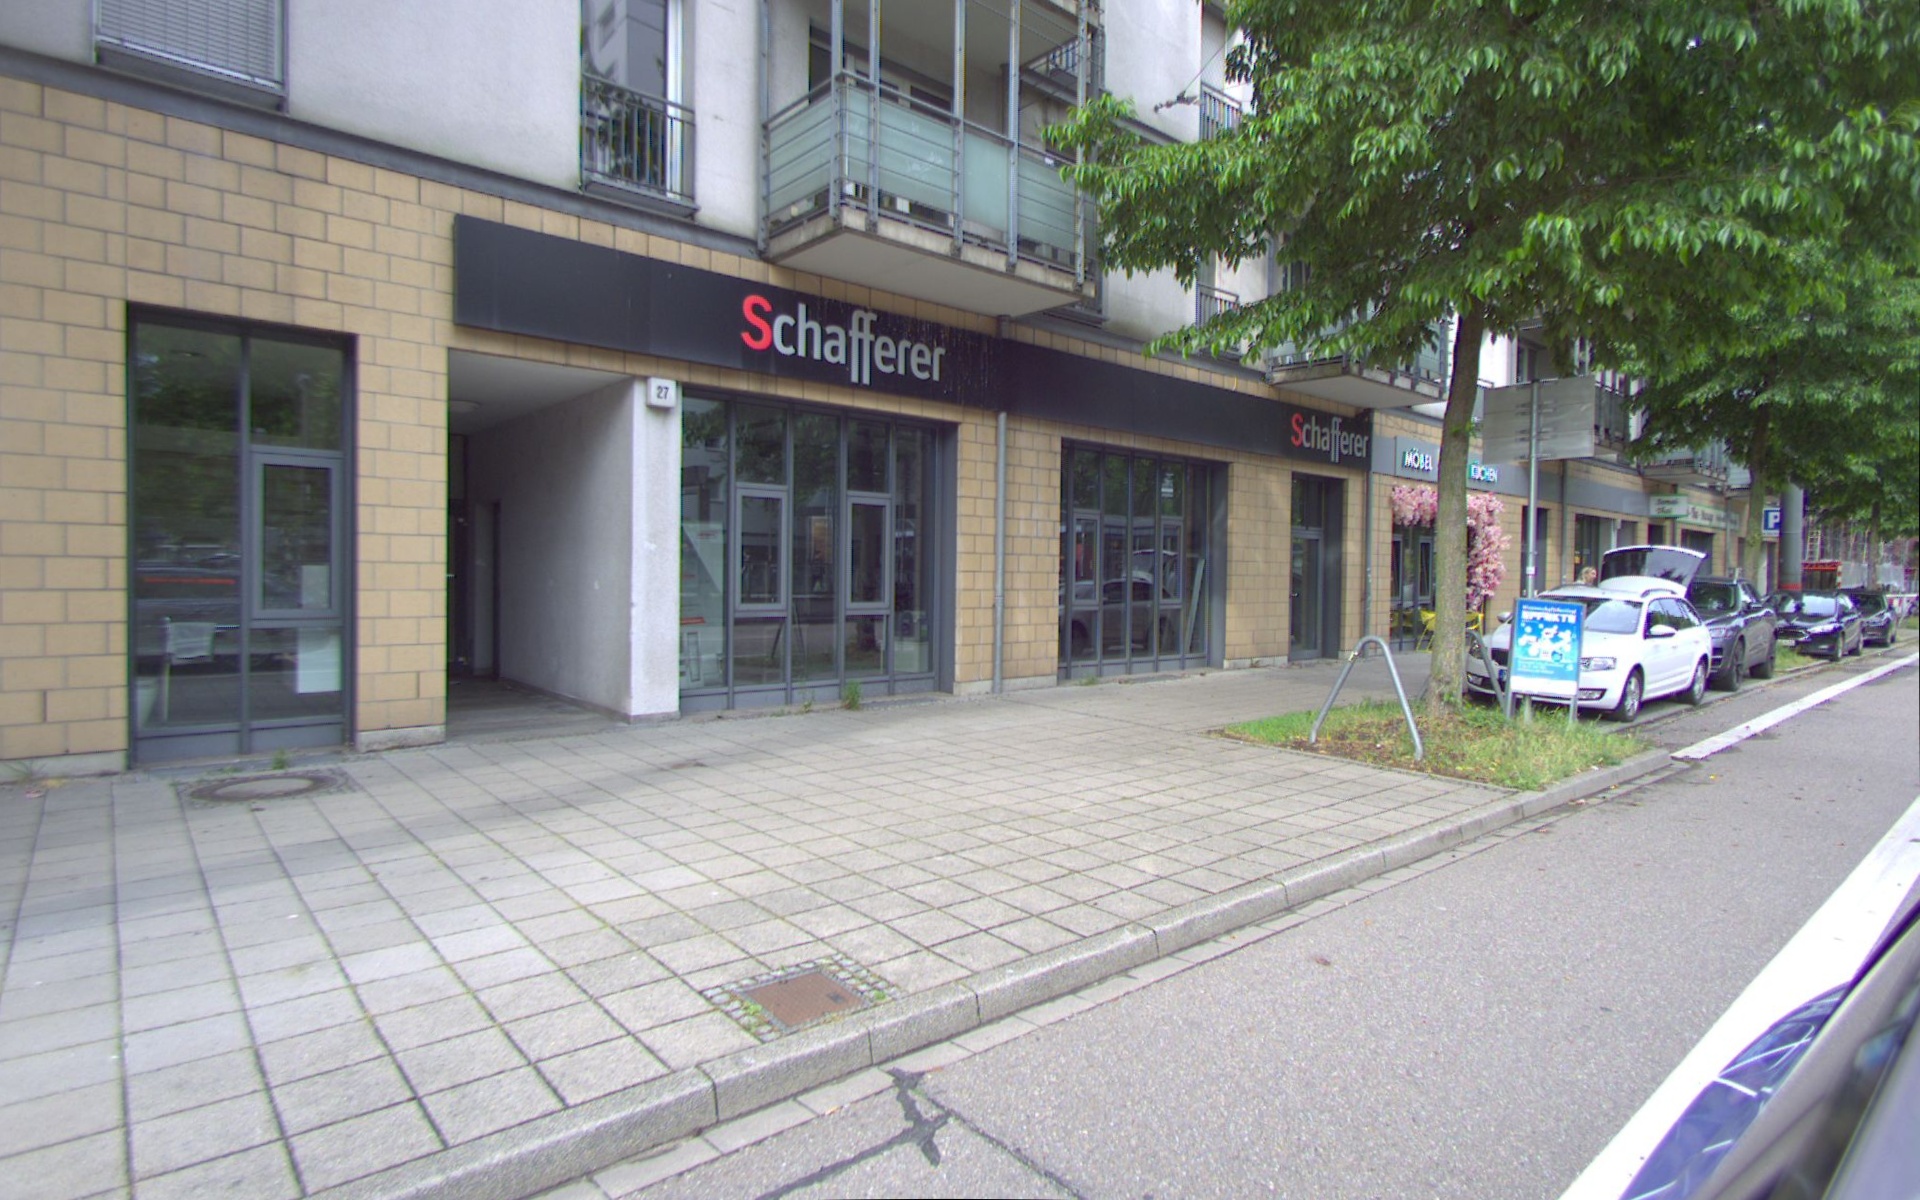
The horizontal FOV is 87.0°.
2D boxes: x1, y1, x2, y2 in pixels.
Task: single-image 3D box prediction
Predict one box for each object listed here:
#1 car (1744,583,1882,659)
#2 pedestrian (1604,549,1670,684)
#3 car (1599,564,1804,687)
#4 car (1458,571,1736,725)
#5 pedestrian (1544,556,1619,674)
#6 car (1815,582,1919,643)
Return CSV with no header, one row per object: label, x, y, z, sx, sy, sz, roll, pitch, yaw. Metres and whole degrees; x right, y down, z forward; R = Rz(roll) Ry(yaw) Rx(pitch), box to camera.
car,18.637,0.385,22.046,4.095,1.394,1.612,-1,5,-41
pedestrian,9.896,0.227,14.793,0.588,1.907,0.656,0,1,-40
car,11.797,0.317,16.030,3.732,1.630,1.738,-1,5,-41
car,8.124,0.473,12.757,4.233,1.539,1.738,-1,5,-41
pedestrian,9.480,0.209,15.442,0.606,1.738,0.739,0,2,-34
car,24.158,0.286,26.872,3.603,1.417,1.612,-1,5,-41
